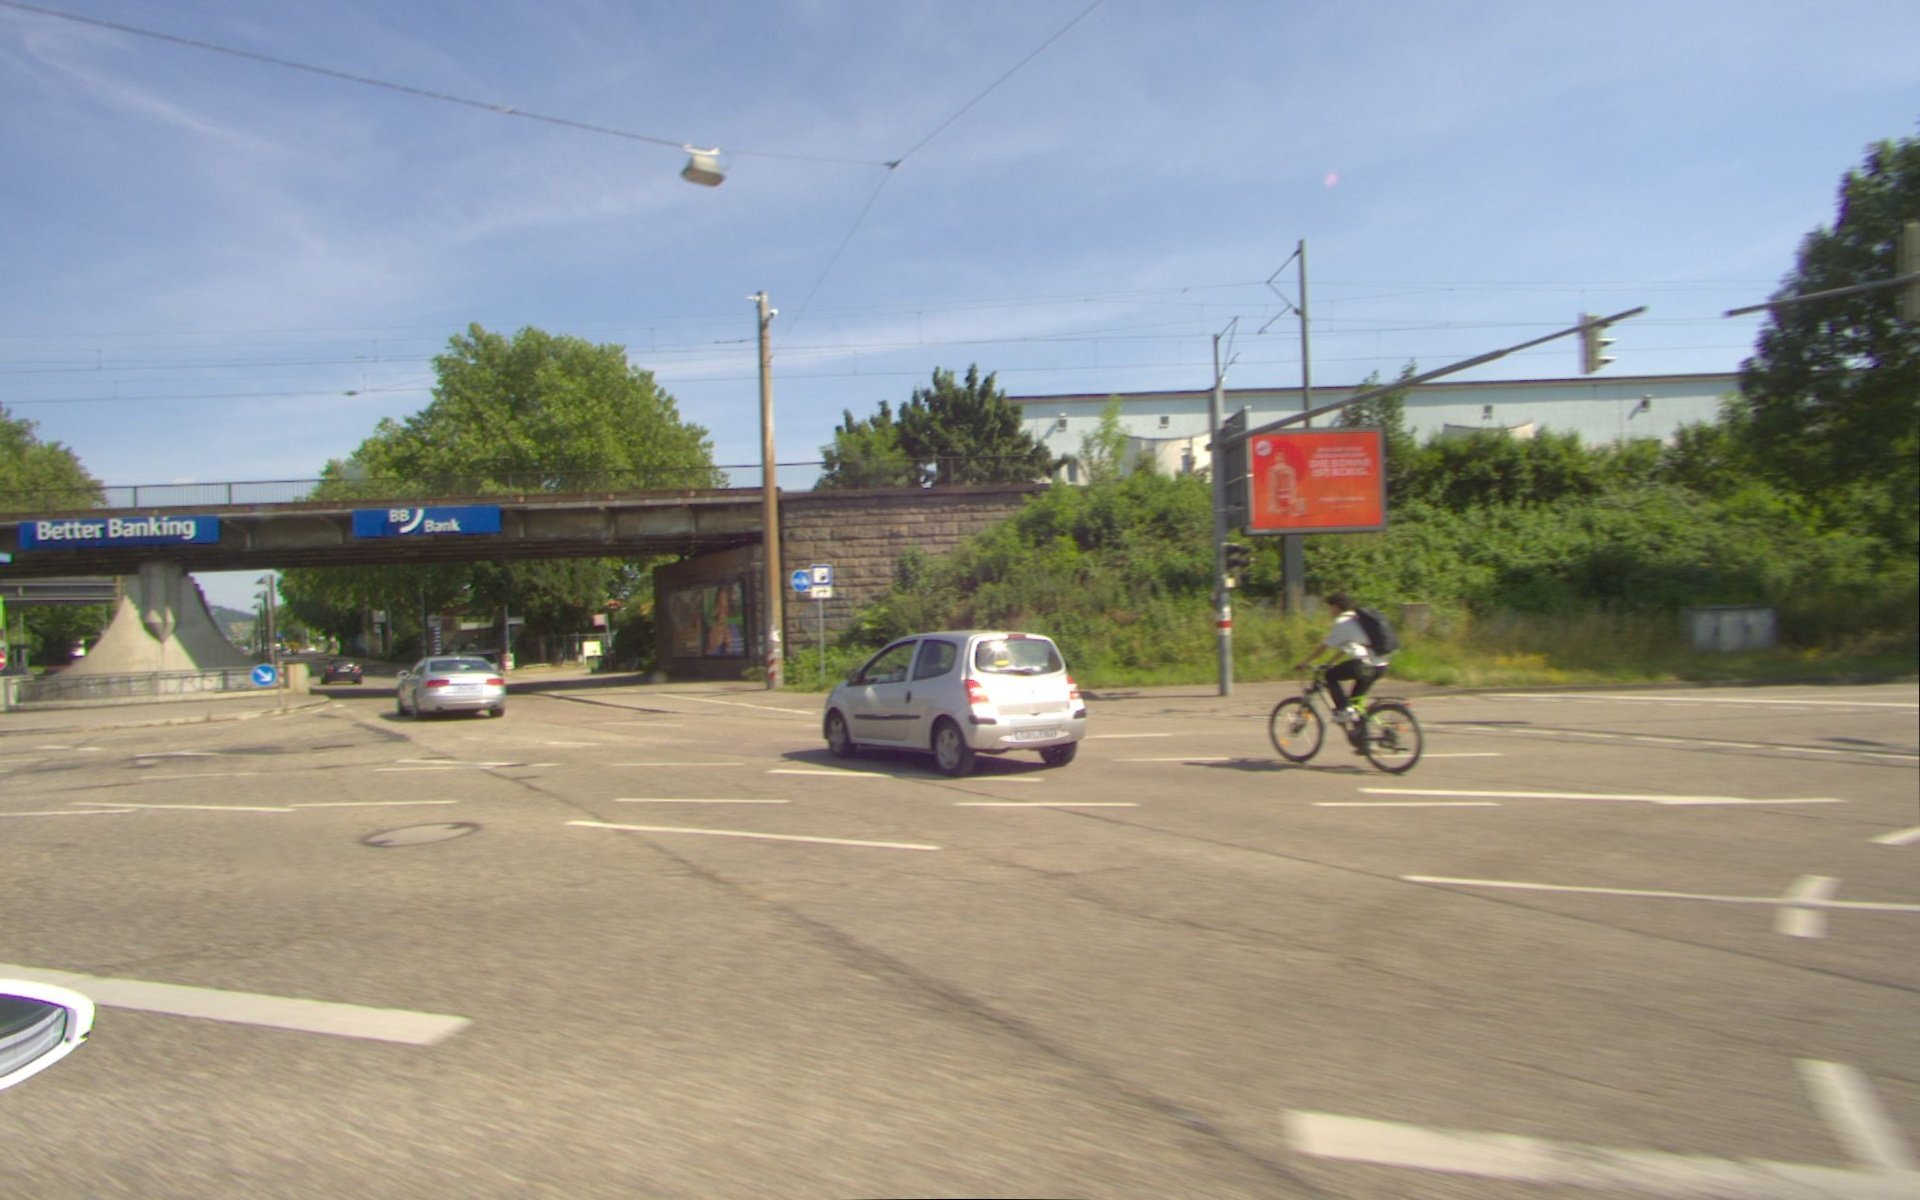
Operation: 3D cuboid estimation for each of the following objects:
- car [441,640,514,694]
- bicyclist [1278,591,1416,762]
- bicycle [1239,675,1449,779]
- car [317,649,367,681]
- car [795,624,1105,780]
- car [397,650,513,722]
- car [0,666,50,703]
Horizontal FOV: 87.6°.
[{"bbox_3d":[-17.610,2.402,36.428,1.891,1.792,3.978,-1,-2,-33],"label":"car"},{"bbox_3d":[3.993,0.763,10.376,0.797,1.654,1.060,1,-2,-37],"label":"bicyclist"},{"bbox_3d":[3.945,1.271,10.438,0.808,0.903,1.913,1,-2,-37],"label":"bicycle"},{"bbox_3d":[-33.041,3.416,53.481,1.921,1.621,3.971,1,-3,-37],"label":"car"},{"bbox_3d":[-0.283,1.073,11.664,1.695,1.469,3.868,0,-2,-35],"label":"car"},{"bbox_3d":[-12.319,2.000,24.264,1.974,1.527,4.455,1,-3,-34],"label":"car"},{"bbox_3d":[-41.171,3.655,43.567,1.669,1.460,3.978,-2,-2,-33],"label":"car"}]
